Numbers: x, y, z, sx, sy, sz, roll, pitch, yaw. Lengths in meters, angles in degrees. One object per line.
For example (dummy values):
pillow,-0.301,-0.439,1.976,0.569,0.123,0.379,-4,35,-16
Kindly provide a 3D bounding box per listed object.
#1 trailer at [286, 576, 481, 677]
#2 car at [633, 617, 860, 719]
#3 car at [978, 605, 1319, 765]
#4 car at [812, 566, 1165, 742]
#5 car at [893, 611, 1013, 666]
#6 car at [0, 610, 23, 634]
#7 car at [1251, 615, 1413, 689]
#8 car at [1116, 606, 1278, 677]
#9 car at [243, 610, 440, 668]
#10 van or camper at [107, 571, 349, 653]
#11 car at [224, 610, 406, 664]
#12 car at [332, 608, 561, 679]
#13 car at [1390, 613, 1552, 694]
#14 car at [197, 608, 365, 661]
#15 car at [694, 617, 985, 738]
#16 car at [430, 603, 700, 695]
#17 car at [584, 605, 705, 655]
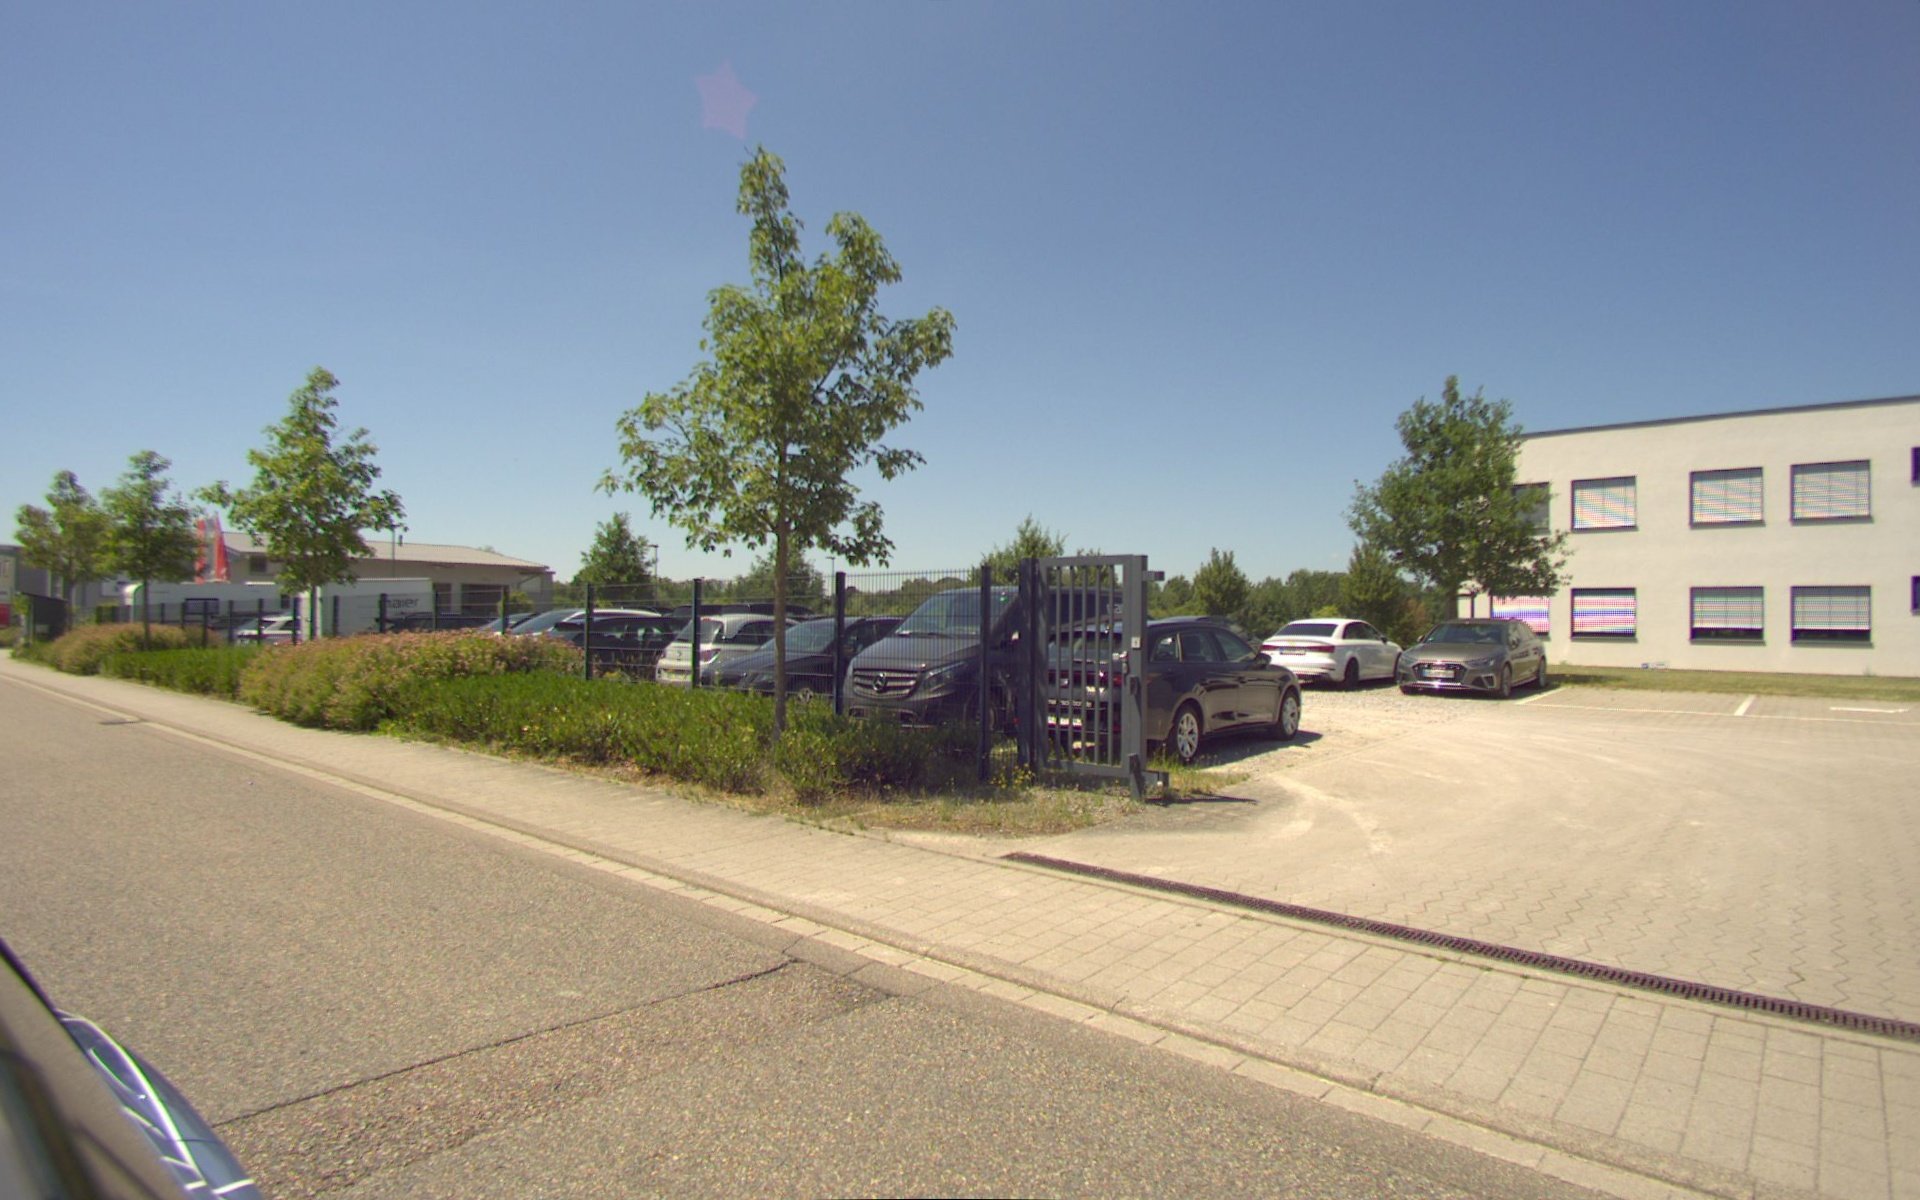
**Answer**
trailer,-14.605,0.608,25.806,1.724,2.378,3.949,-1,0,38
car,-3.567,1.064,17.260,1.903,1.510,3.336,-1,-1,40
car,2.305,0.798,11.483,1.963,1.457,4.261,-1,-1,40
car,0.598,0.598,13.307,1.963,1.865,5.007,-1,-1,40
car,-0.139,1.031,28.082,1.476,1.425,3.436,-1,-1,40
car,-67.373,1.546,71.001,3.998,1.697,1.972,-1,-2,41
car,7.772,0.989,20.954,1.879,1.361,4.065,-1,-1,40
car,5.333,0.865,22.486,1.879,1.425,4.065,-1,-1,40
car,-16.801,1.023,27.651,1.998,1.463,4.165,-1,-1,39
van or camper,-26.466,0.489,36.860,2.574,2.704,6.704,-1,-2,41
car,-18.758,1.048,29.592,1.775,1.463,4.166,-1,-1,38
car,-12.221,0.991,24.326,1.999,1.547,4.499,-1,-1,41
car,9.858,0.934,19.369,1.879,1.361,4.065,-1,-1,40
car,-23.163,1.142,34.655,1.776,1.678,4.464,-1,-1,40
car,-1.664,1.031,15.133,1.903,1.510,4.150,-1,-1,40
car,-7.799,0.911,20.353,1.999,1.641,4.682,-1,-1,41
car,-11.915,1.105,38.350,1.998,1.785,3.947,-1,-1,39
